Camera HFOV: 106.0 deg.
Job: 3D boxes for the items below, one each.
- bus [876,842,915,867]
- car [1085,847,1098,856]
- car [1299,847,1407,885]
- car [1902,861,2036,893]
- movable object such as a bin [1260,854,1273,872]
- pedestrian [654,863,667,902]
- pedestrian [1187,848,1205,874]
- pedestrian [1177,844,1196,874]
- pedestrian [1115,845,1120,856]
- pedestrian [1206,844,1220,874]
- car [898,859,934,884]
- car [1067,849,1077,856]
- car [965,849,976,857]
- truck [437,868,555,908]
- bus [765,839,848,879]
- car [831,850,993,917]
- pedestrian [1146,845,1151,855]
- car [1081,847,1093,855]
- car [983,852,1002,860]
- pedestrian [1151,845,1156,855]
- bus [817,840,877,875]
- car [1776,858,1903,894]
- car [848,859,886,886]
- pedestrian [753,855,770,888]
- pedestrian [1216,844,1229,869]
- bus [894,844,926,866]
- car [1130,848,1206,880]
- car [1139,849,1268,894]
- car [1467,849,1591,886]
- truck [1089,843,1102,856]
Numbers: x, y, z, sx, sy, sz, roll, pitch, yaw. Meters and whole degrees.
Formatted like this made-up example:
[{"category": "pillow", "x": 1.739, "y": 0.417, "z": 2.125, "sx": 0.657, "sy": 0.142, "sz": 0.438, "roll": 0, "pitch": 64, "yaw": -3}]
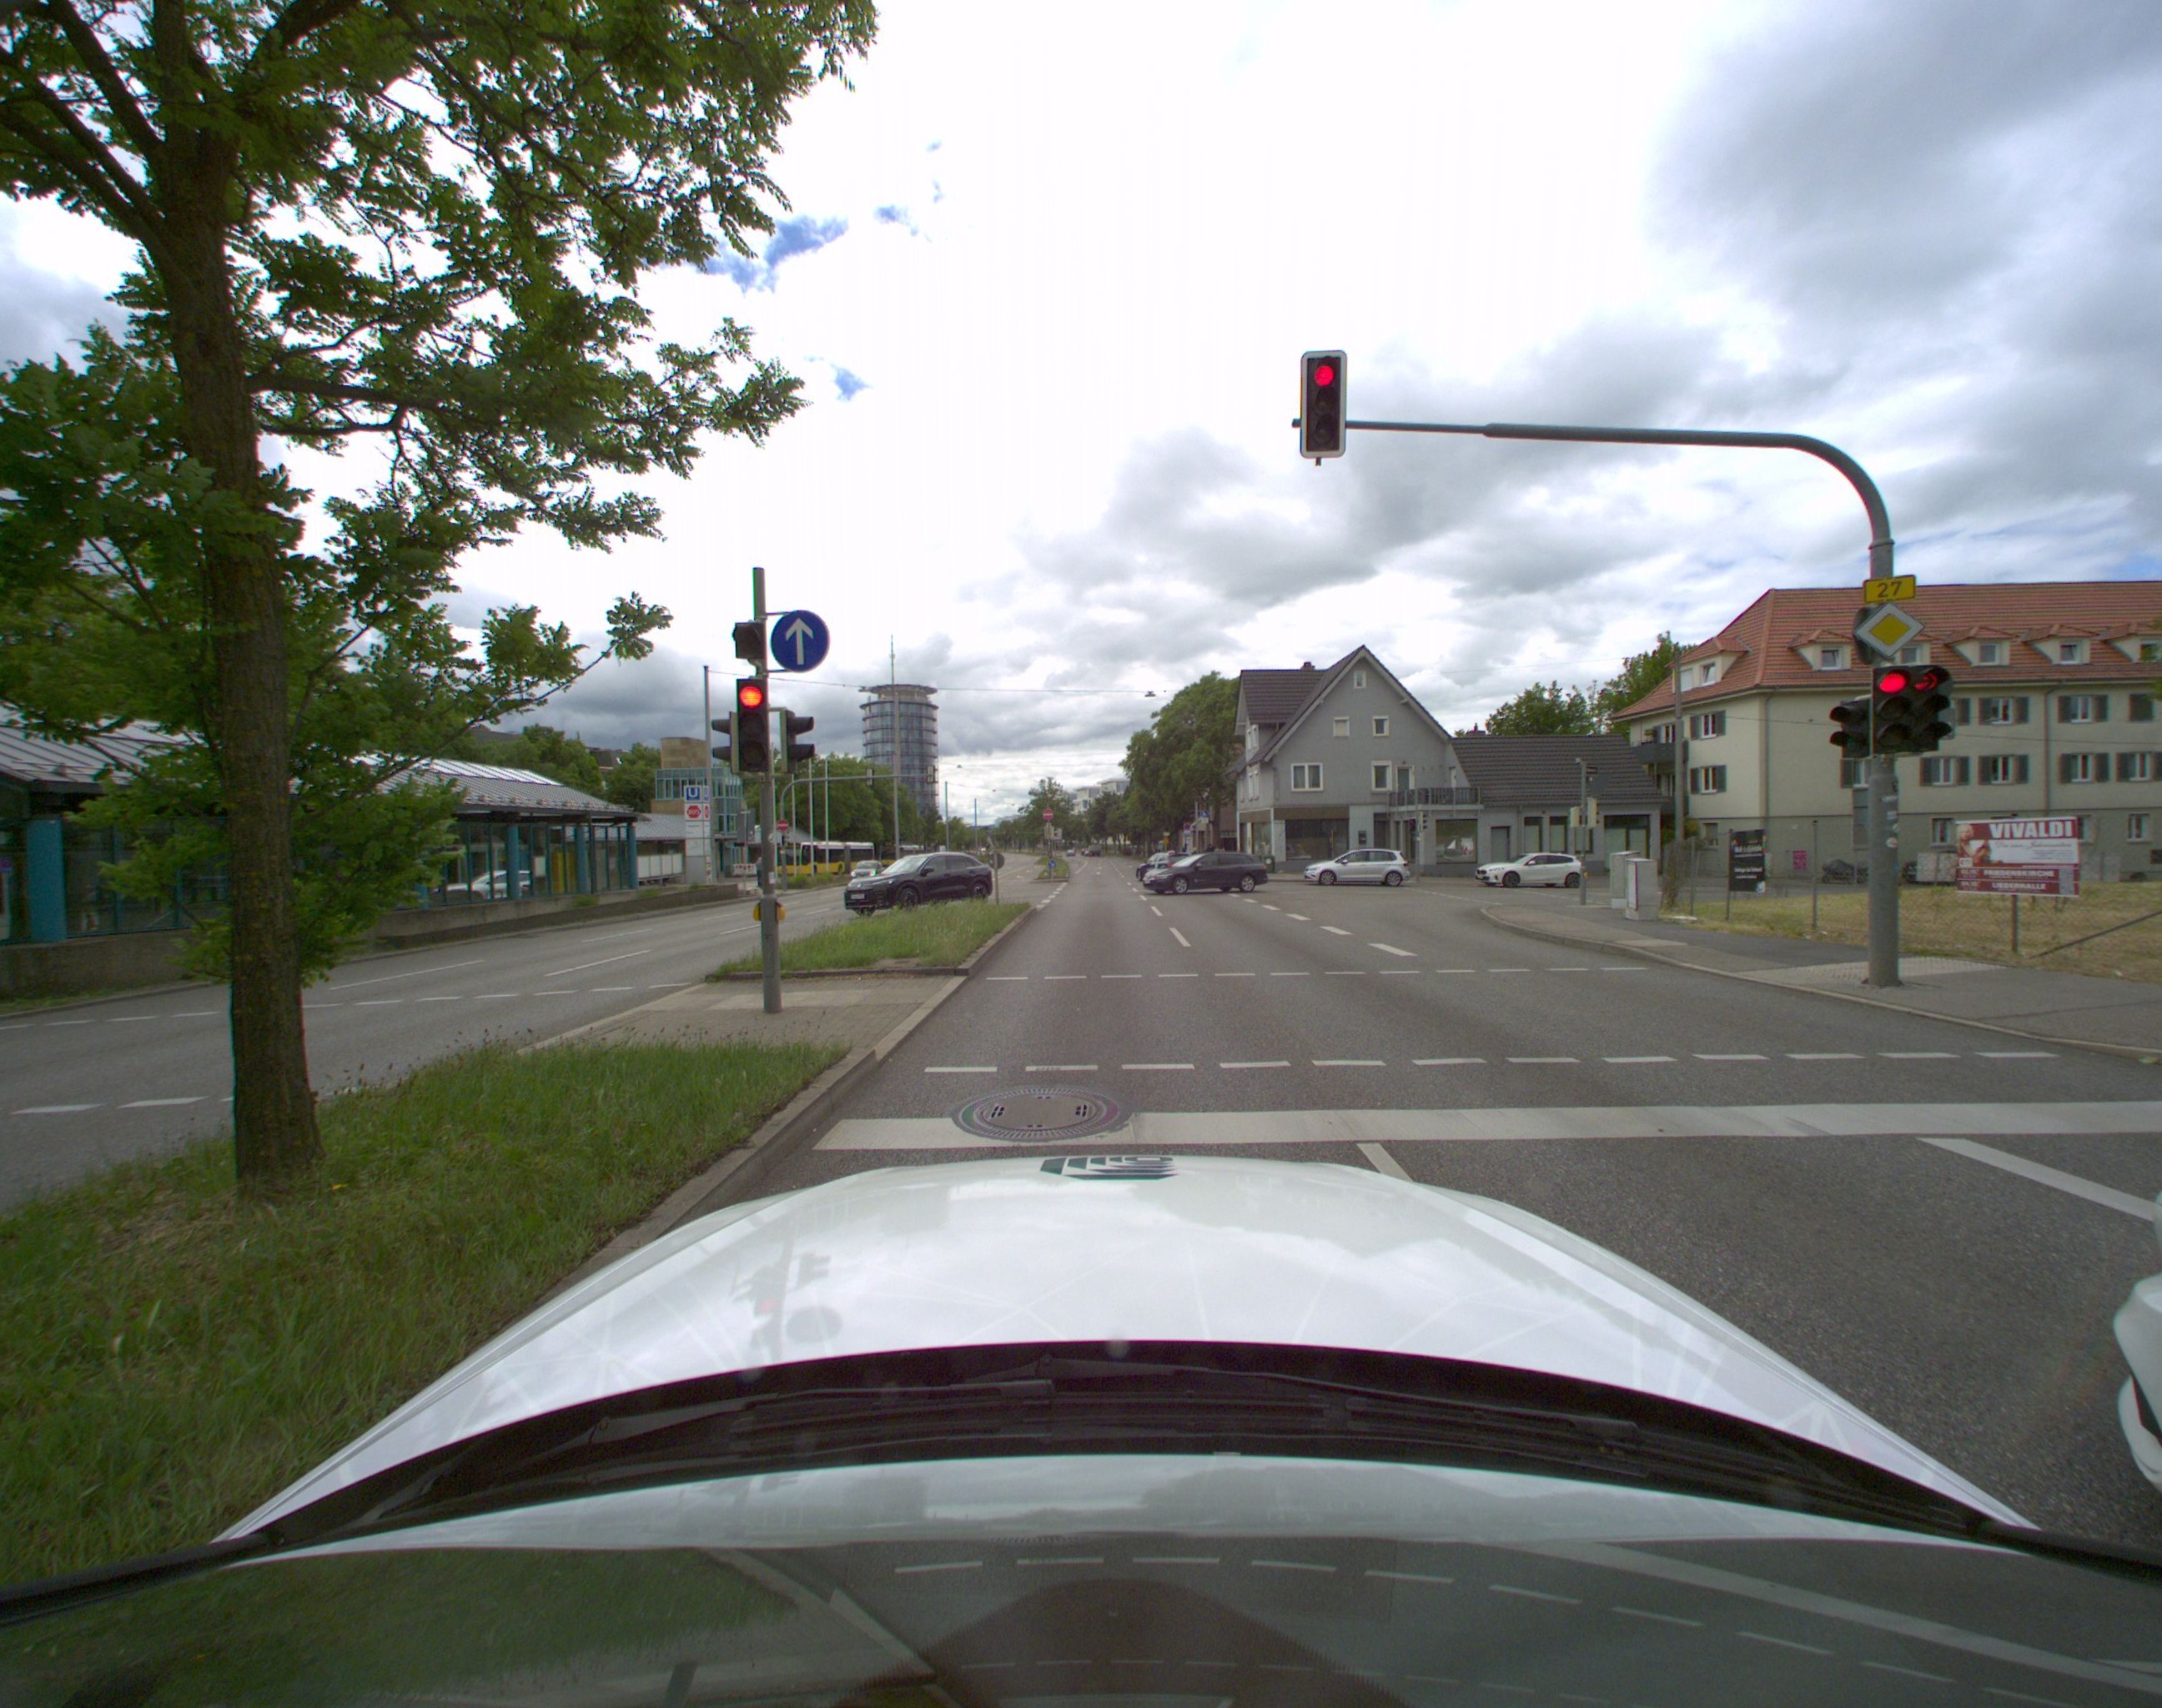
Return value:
[{"category": "bus", "x": -26.102, "y": 0.097, "z": 115.319, "sx": 3.135, "sy": 3.225, "sz": 10.282, "roll": -2, "pitch": 0, "yaw": 0}, {"category": "car", "x": 2.086, "y": -0.472, "z": 165.288, "sx": 2.246, "sy": 1.757, "sz": 4.928, "roll": -2, "pitch": 0, "yaw": -3}, {"category": "car", "x": 11.492, "y": 0.483, "z": 34.608, "sx": 4.078, "sy": 1.540, "sz": 1.832, "roll": 0, "pitch": 0, "yaw": 7}, {"category": "car", "x": 39.811, "y": 1.020, "z": 36.584, "sx": 3.972, "sy": 1.377, "sz": 1.871, "roll": 0, "pitch": 0, "yaw": 2}, {"category": "movable object such as a bin", "x": 10.030, "y": 0.474, "z": 43.962, "sx": 0.527, "sy": 0.979, "sz": 0.737, "roll": -2, "pitch": 0, "yaw": 2}, {"category": "pedestrian", "x": -17.402, "y": 1.171, "z": 33.684, "sx": 0.420, "sy": 1.591, "sz": 0.353, "roll": -2, "pitch": 0, "yaw": -28}, {"category": "pedestrian", "x": 6.955, "y": 0.403, "z": 49.141, "sx": 0.866, "sy": 1.507, "sz": 0.706, "roll": -2, "pitch": 0, "yaw": -7}, {"category": "pedestrian", "x": 6.449, "y": 0.307, "z": 49.963, "sx": 0.875, "sy": 1.780, "sz": 0.699, "roll": -2, "pitch": -1, "yaw": -41}, {"category": "pedestrian", "x": 8.164, "y": -0.723, "z": 180.191, "sx": 0.930, "sy": 2.308, "sz": 1.008, "roll": 0, "pitch": -1, "yaw": -8}, {"category": "pedestrian", "x": 7.833, "y": 0.279, "z": 48.355, "sx": 0.701, "sy": 1.760, "sz": 1.054, "roll": -2, "pitch": 0, "yaw": 6}, {"category": "car", "x": -10.342, "y": 1.054, "z": 51.325, "sx": 1.680, "sy": 1.462, "sz": 3.552, "roll": -2, "pitch": 0, "yaw": -3}, {"category": "car", "x": -1.922, "y": -0.354, "z": 173.476, "sx": 1.963, "sy": 1.420, "sz": 4.017, "roll": -2, "pitch": 0, "yaw": -3}, {"category": "car", "x": -27.273, "y": -0.171, "z": 201.219, "sx": 1.958, "sy": 2.014, "sz": 4.001, "roll": 0, "pitch": -1, "yaw": 2}, {"category": "truck", "x": -25.243, "y": 1.433, "z": 35.276, "sx": 4.017, "sy": 1.517, "sz": 1.978, "roll": -2, "pitch": 0, "yaw": -35}, {"category": "bus", "x": -24.327, "y": 0.402, "z": 72.870, "sx": 2.975, "sy": 3.250, "sz": 10.186, "roll": -2, "pitch": 0, "yaw": 6}, {"category": "car", "x": -4.360, "y": 0.711, "z": 21.623, "sx": 1.817, "sy": 1.521, "sz": 4.098, "roll": -1, "pitch": 0, "yaw": 33}, {"category": "pedestrian", "x": 10.419, "y": -0.610, "z": 125.378, "sx": 0.649, "sy": 1.570, "sz": 0.669, "roll": -2, "pitch": 0, "yaw": -6}, {"category": "car", "x": 1.278, "y": -0.555, "z": 174.110, "sx": 2.246, "sy": 1.647, "sz": 4.927, "roll": -2, "pitch": 0, "yaw": -3}, {"category": "car", "x": -17.982, "y": 0.472, "z": 165.769, "sx": 3.518, "sy": 1.492, "sz": 1.718, "roll": -2, "pitch": 0, "yaw": 25}, {"category": "pedestrian", "x": 11.193, "y": -0.570, "z": 125.224, "sx": 0.649, "sy": 1.570, "sz": 0.669, "roll": -2, "pitch": 0, "yaw": -6}, {"category": "bus", "x": -23.356, "y": 0.369, "z": 81.869, "sx": 2.975, "sy": 3.270, "sz": 7.889, "roll": -2, "pitch": 0, "yaw": 6}, {"category": "car", "x": 34.041, "y": 0.983, "z": 36.622, "sx": 3.972, "sy": 1.537, "sz": 1.871, "roll": 0, "pitch": 0, "yaw": 2}, {"category": "car", "x": -13.495, "y": 1.145, "z": 51.536, "sx": 1.681, "sy": 1.578, "sz": 3.344, "roll": -2, "pitch": 0, "yaw": -4}, {"category": "pedestrian", "x": -19.092, "y": 1.046, "z": 48.708, "sx": 0.658, "sy": 1.897, "sz": 0.686, "roll": -2, "pitch": 0, "yaw": 1}, {"category": "pedestrian", "x": 9.423, "y": 0.177, "z": 54.246, "sx": 0.700, "sy": 1.662, "sz": 0.874, "roll": -2, "pitch": 0, "yaw": 15}, {"category": "bus", "x": -26.045, "y": 0.123, "z": 124.328, "sx": 3.134, "sy": 3.225, "sz": 7.765, "roll": -2, "pitch": 0, "yaw": 0}, {"category": "car", "x": 4.249, "y": 0.498, "z": 40.546, "sx": 1.899, "sy": 1.494, "sz": 4.064, "roll": -2, "pitch": 0, "yaw": -25}, {"category": "car", "x": 4.377, "y": 0.589, "z": 29.188, "sx": 4.287, "sy": 1.481, "sz": 1.704, "roll": -1, "pitch": 1, "yaw": -19}, {"category": "car", "x": 18.980, "y": 0.551, "z": 34.644, "sx": 4.229, "sy": 1.477, "sz": 2.000, "roll": -1, "pitch": 0, "yaw": 0}, {"category": "truck", "x": 2.745, "y": -0.816, "z": 156.675, "sx": 2.246, "sy": 2.416, "sz": 4.928, "roll": -1, "pitch": 0, "yaw": -3}]
